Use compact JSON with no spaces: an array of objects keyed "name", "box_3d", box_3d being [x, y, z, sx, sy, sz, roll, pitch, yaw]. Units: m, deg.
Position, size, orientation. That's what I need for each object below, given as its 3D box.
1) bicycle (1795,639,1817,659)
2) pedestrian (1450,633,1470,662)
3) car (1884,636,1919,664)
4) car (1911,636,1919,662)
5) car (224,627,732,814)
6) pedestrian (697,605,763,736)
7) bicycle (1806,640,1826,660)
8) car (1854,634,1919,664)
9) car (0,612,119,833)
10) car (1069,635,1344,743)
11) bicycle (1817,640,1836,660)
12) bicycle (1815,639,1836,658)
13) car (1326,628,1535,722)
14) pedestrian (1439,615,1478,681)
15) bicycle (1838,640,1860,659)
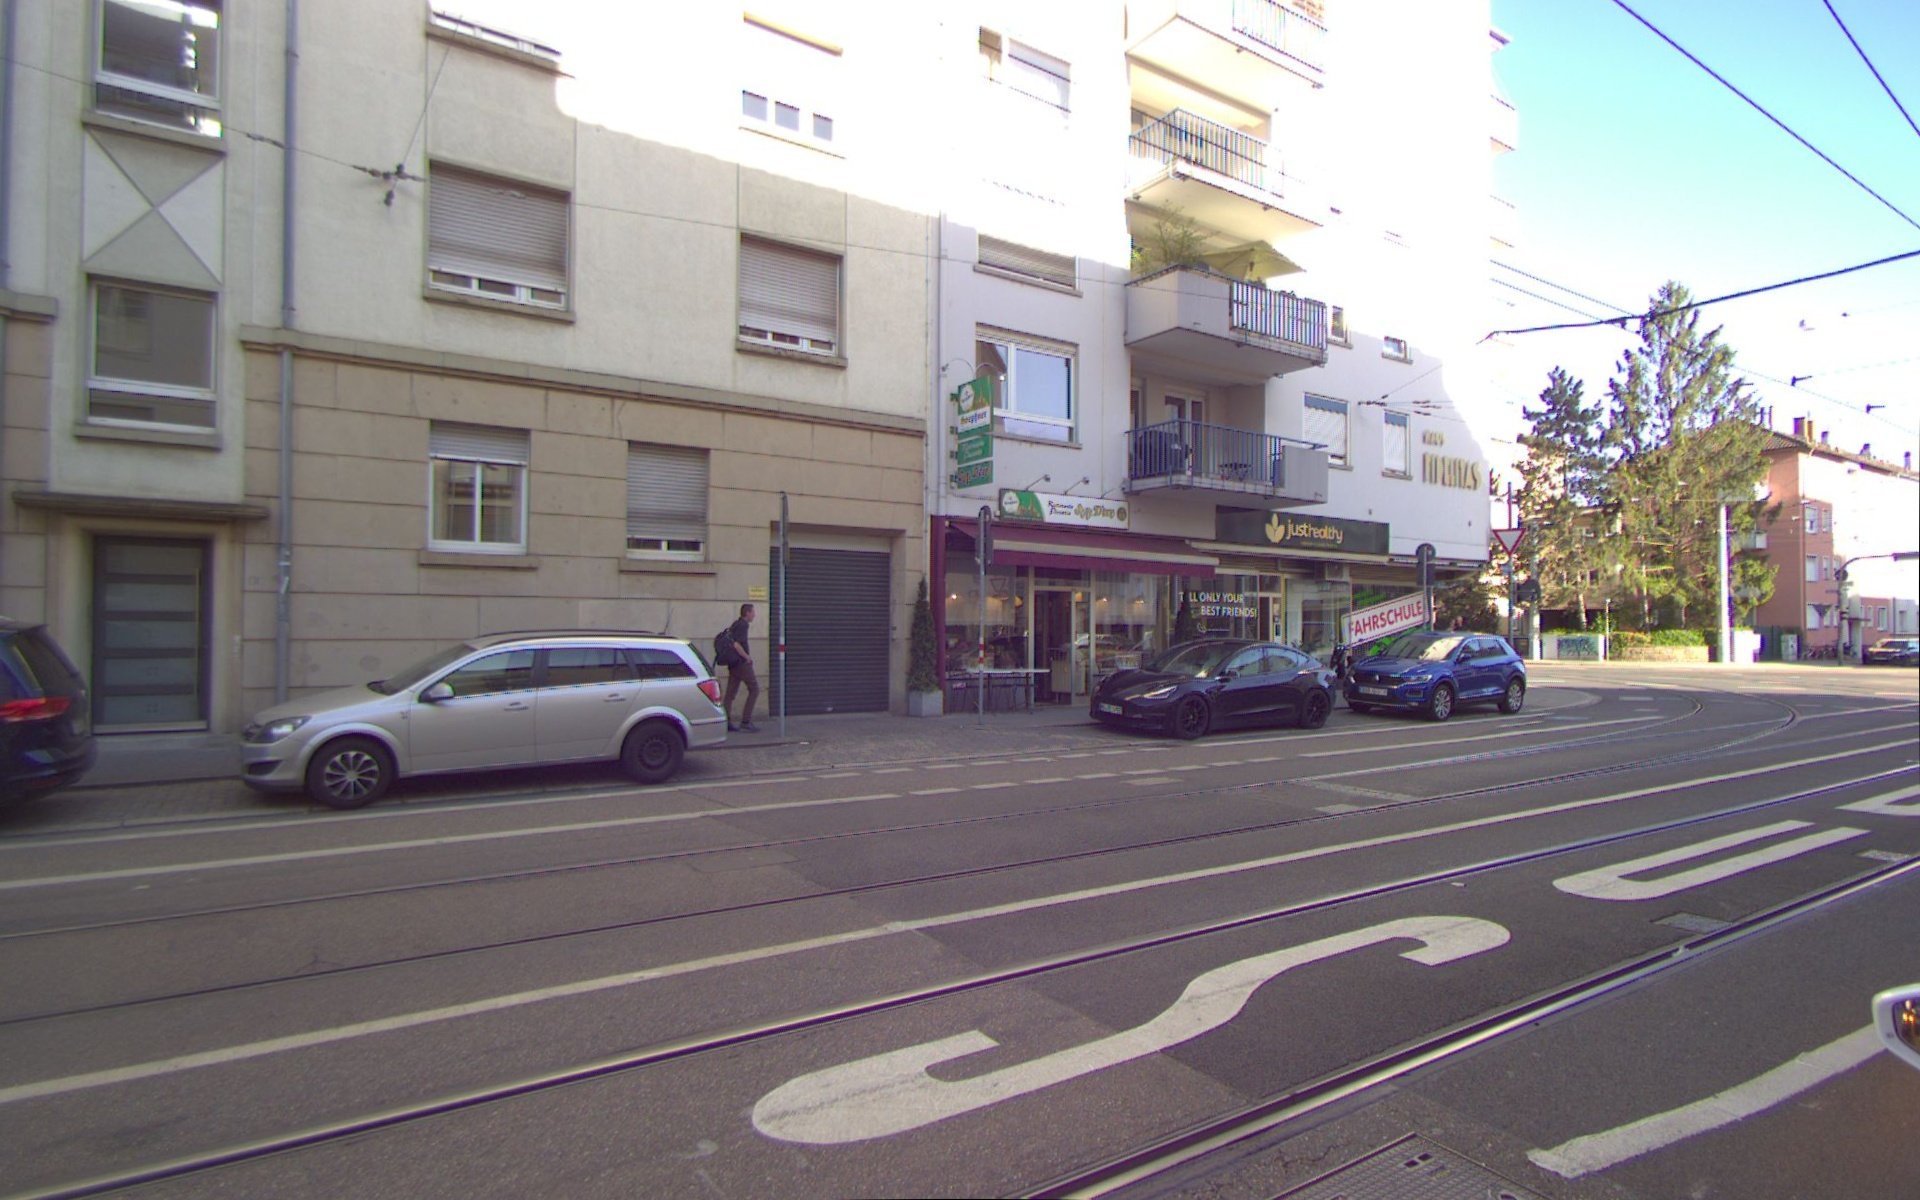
[{"name":"bicycle","box_3d":[46.875,2.722,55.633,1.895,1.097,0.634,2,-2,-41]},{"name":"pedestrian","box_3d":[30.009,2.841,60.298,0.672,1.725,0.805,1,-2,-30]},{"name":"car","box_3d":[54.266,2.838,57.014,4.006,1.539,1.938,1,-2,-36]},{"name":"car","box_3d":[58.120,2.895,59.453,3.961,1.539,1.938,1,-2,-36]},{"name":"car","box_3d":[-4.713,1.052,10.212,4.343,1.497,1.785,1,-1,-34]},{"name":"pedestrian","box_3d":[-3.145,0.942,13.746,0.722,1.731,0.600,1,-2,-32]},{"name":"bicycle","box_3d":[47.171,2.732,55.341,1.895,1.097,0.532,2,-2,-41]},{"name":"car","box_3d":[49.718,2.614,53.784,3.961,1.539,1.938,1,-2,-36]},{"name":"car","box_3d":[-9.000,0.882,7.190,4.343,1.620,1.785,1,-1,-34]},{"name":"car","box_3d":[4.006,1.317,16.040,4.442,1.422,1.714,1,1,-34]},{"name":"bicycle","box_3d":[47.598,2.745,55.166,1.895,1.097,0.532,2,-2,-41]},{"name":"bicycle","box_3d":[50.734,2.858,58.882,1.892,1.097,0.533,1,-2,-37]},{"name":"car","box_3d":[8.985,1.347,19.083,4.072,1.525,1.714,1,1,-34]},{"name":"pedestrian","box_3d":[14.296,1.362,28.813,0.707,1.859,0.771,0,-1,-3]},{"name":"bicycle","box_3d":[53.150,2.935,60.027,1.892,1.097,0.605,1,-2,-37]}]
